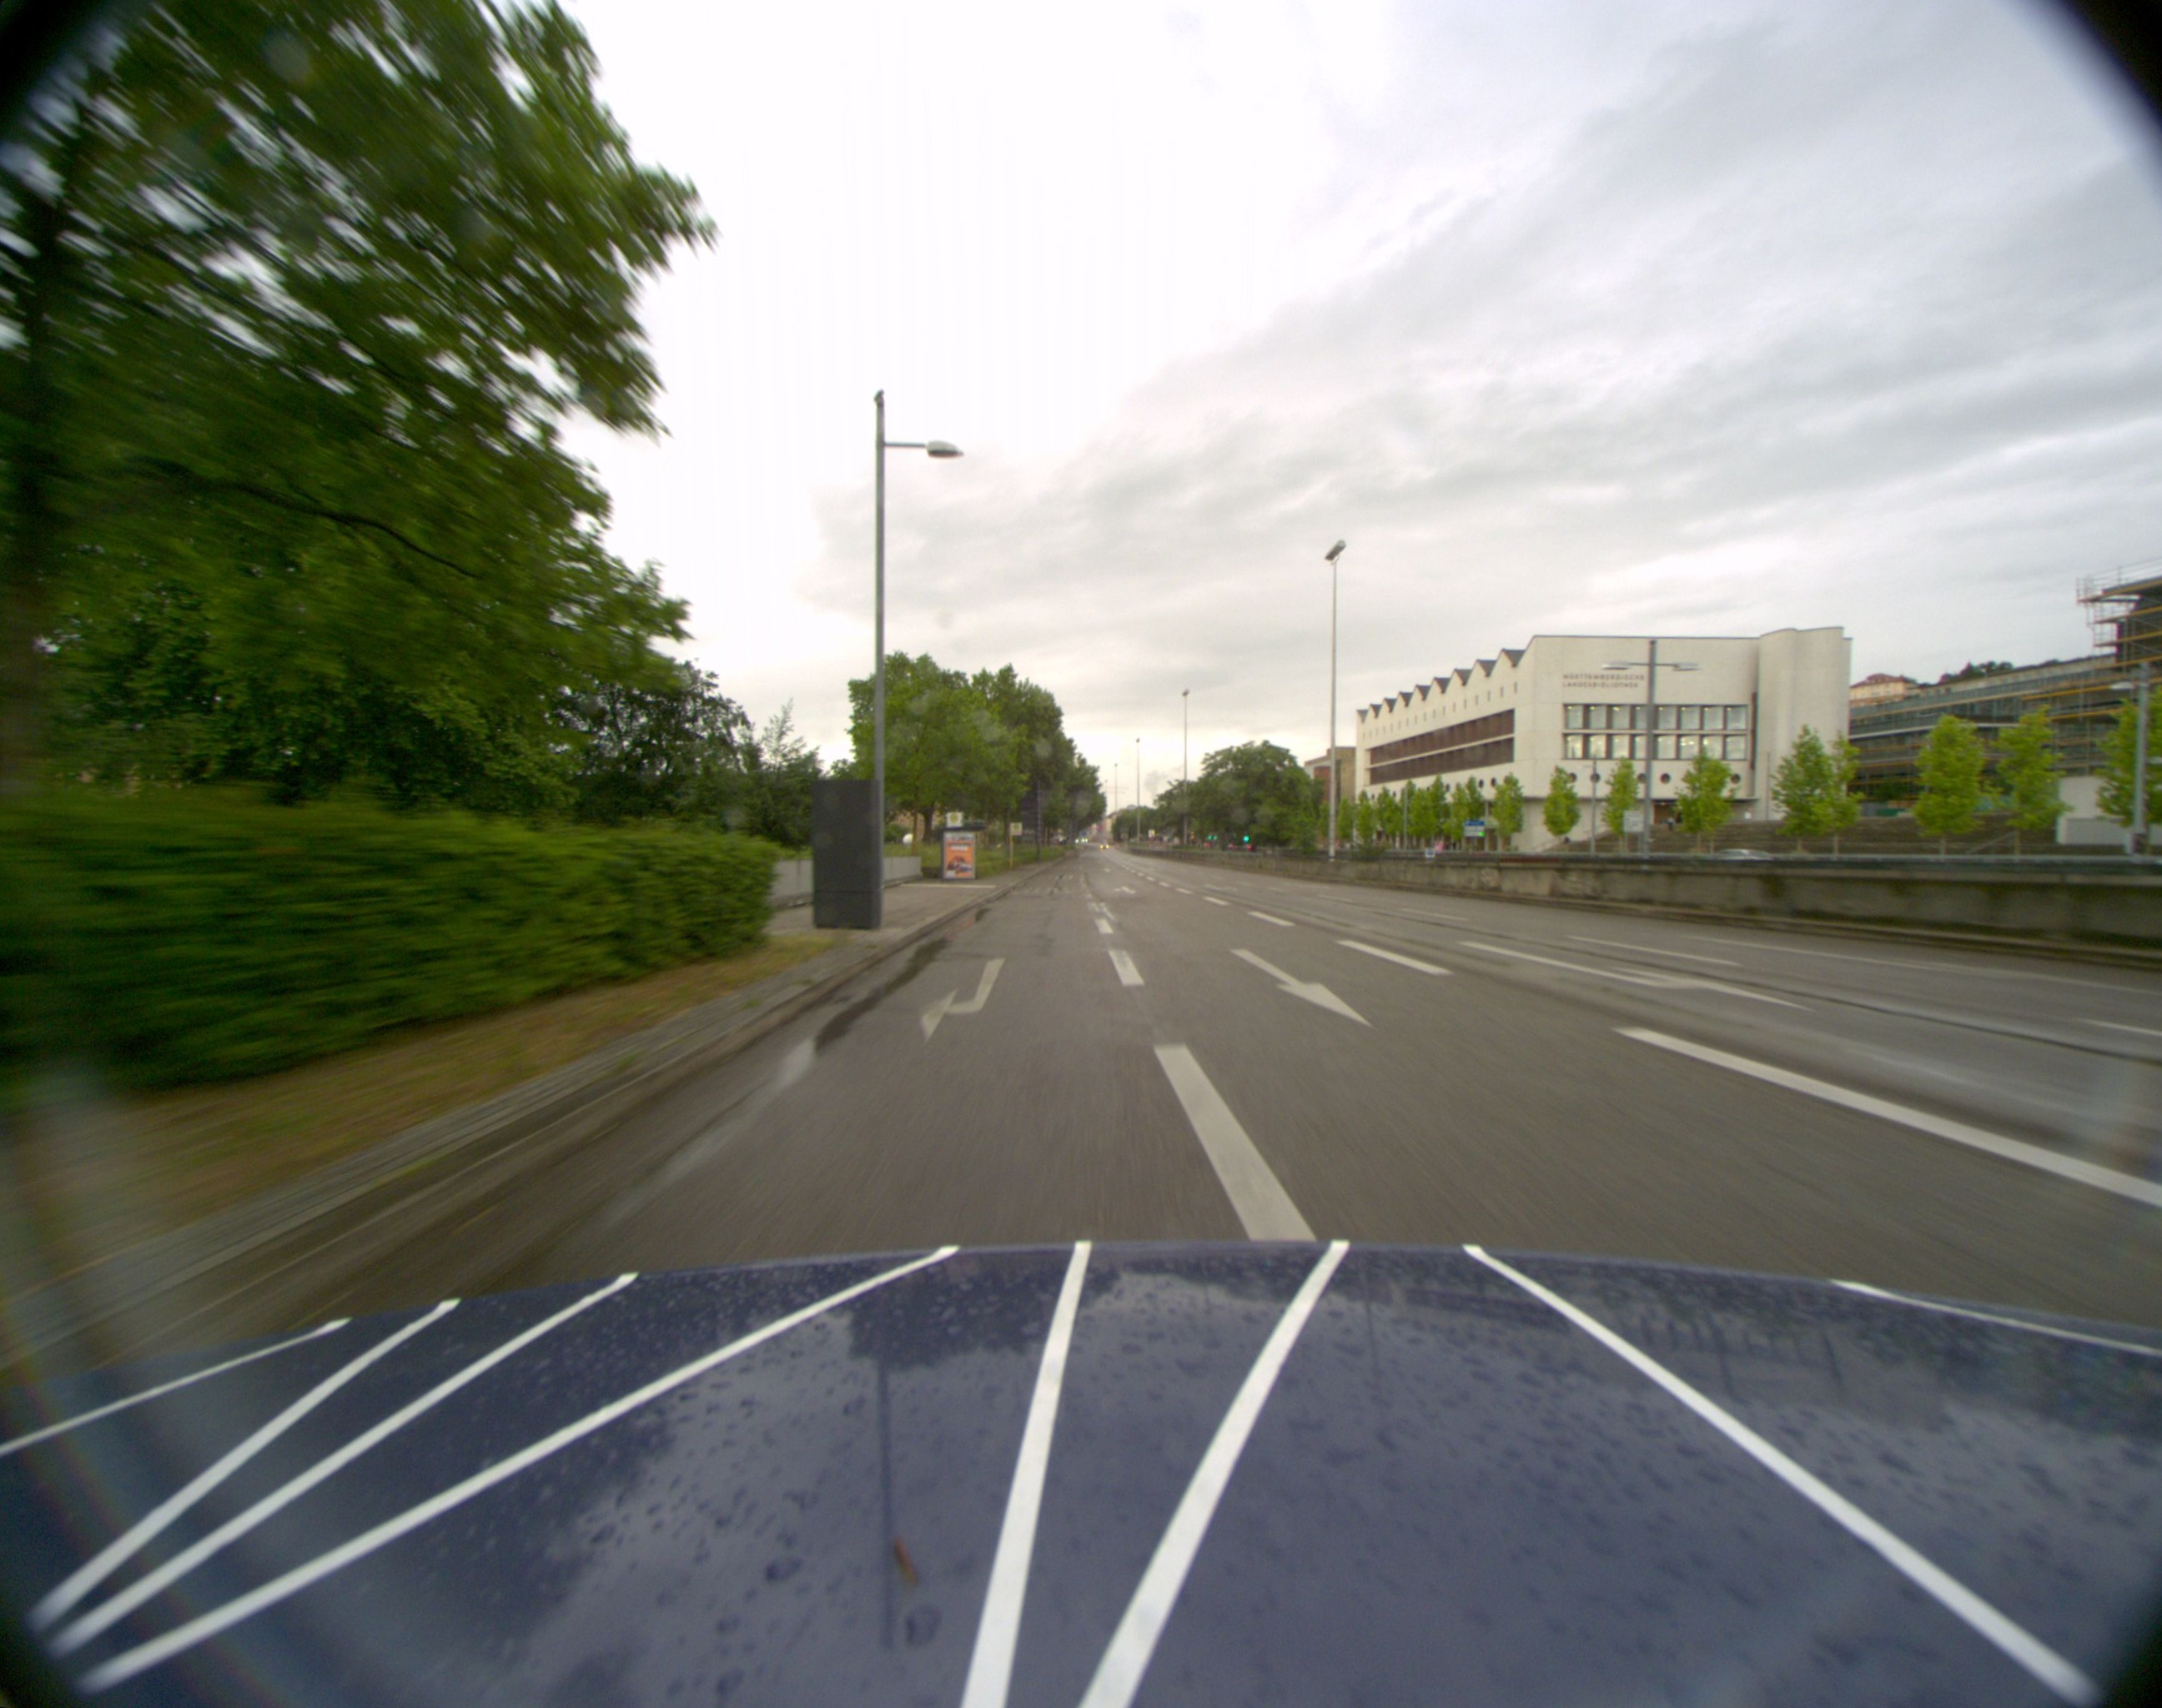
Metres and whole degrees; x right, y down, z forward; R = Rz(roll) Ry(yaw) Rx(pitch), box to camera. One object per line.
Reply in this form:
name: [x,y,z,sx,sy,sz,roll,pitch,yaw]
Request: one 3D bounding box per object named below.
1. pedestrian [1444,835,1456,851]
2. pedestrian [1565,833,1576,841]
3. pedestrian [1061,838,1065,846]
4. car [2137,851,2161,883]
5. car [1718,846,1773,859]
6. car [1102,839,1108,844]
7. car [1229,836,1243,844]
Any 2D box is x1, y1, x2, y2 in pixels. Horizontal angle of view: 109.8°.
pedestrian: [44.495,-1.310,91.643,1.087,1.856,0.830,-1,2,13]
pedestrian: [54.326,-1.843,84.331,0.808,0.882,0.628,-1,2,0]
pedestrian: [-4.077,-2.708,168.384,0.596,1.764,0.585,-3,3,-43]
car: [39.571,0.486,26.416,1.444,1.108,3.019,-1,1,-2]
car: [38.547,-0.099,44.100,0.821,0.741,2.552,-1,1,-5]
car: [5.776,-2.977,183.310,1.517,1.138,2.760,-1,1,3]
car: [30.594,-2.690,150.120,1.699,1.547,3.474,-1,1,-4]
